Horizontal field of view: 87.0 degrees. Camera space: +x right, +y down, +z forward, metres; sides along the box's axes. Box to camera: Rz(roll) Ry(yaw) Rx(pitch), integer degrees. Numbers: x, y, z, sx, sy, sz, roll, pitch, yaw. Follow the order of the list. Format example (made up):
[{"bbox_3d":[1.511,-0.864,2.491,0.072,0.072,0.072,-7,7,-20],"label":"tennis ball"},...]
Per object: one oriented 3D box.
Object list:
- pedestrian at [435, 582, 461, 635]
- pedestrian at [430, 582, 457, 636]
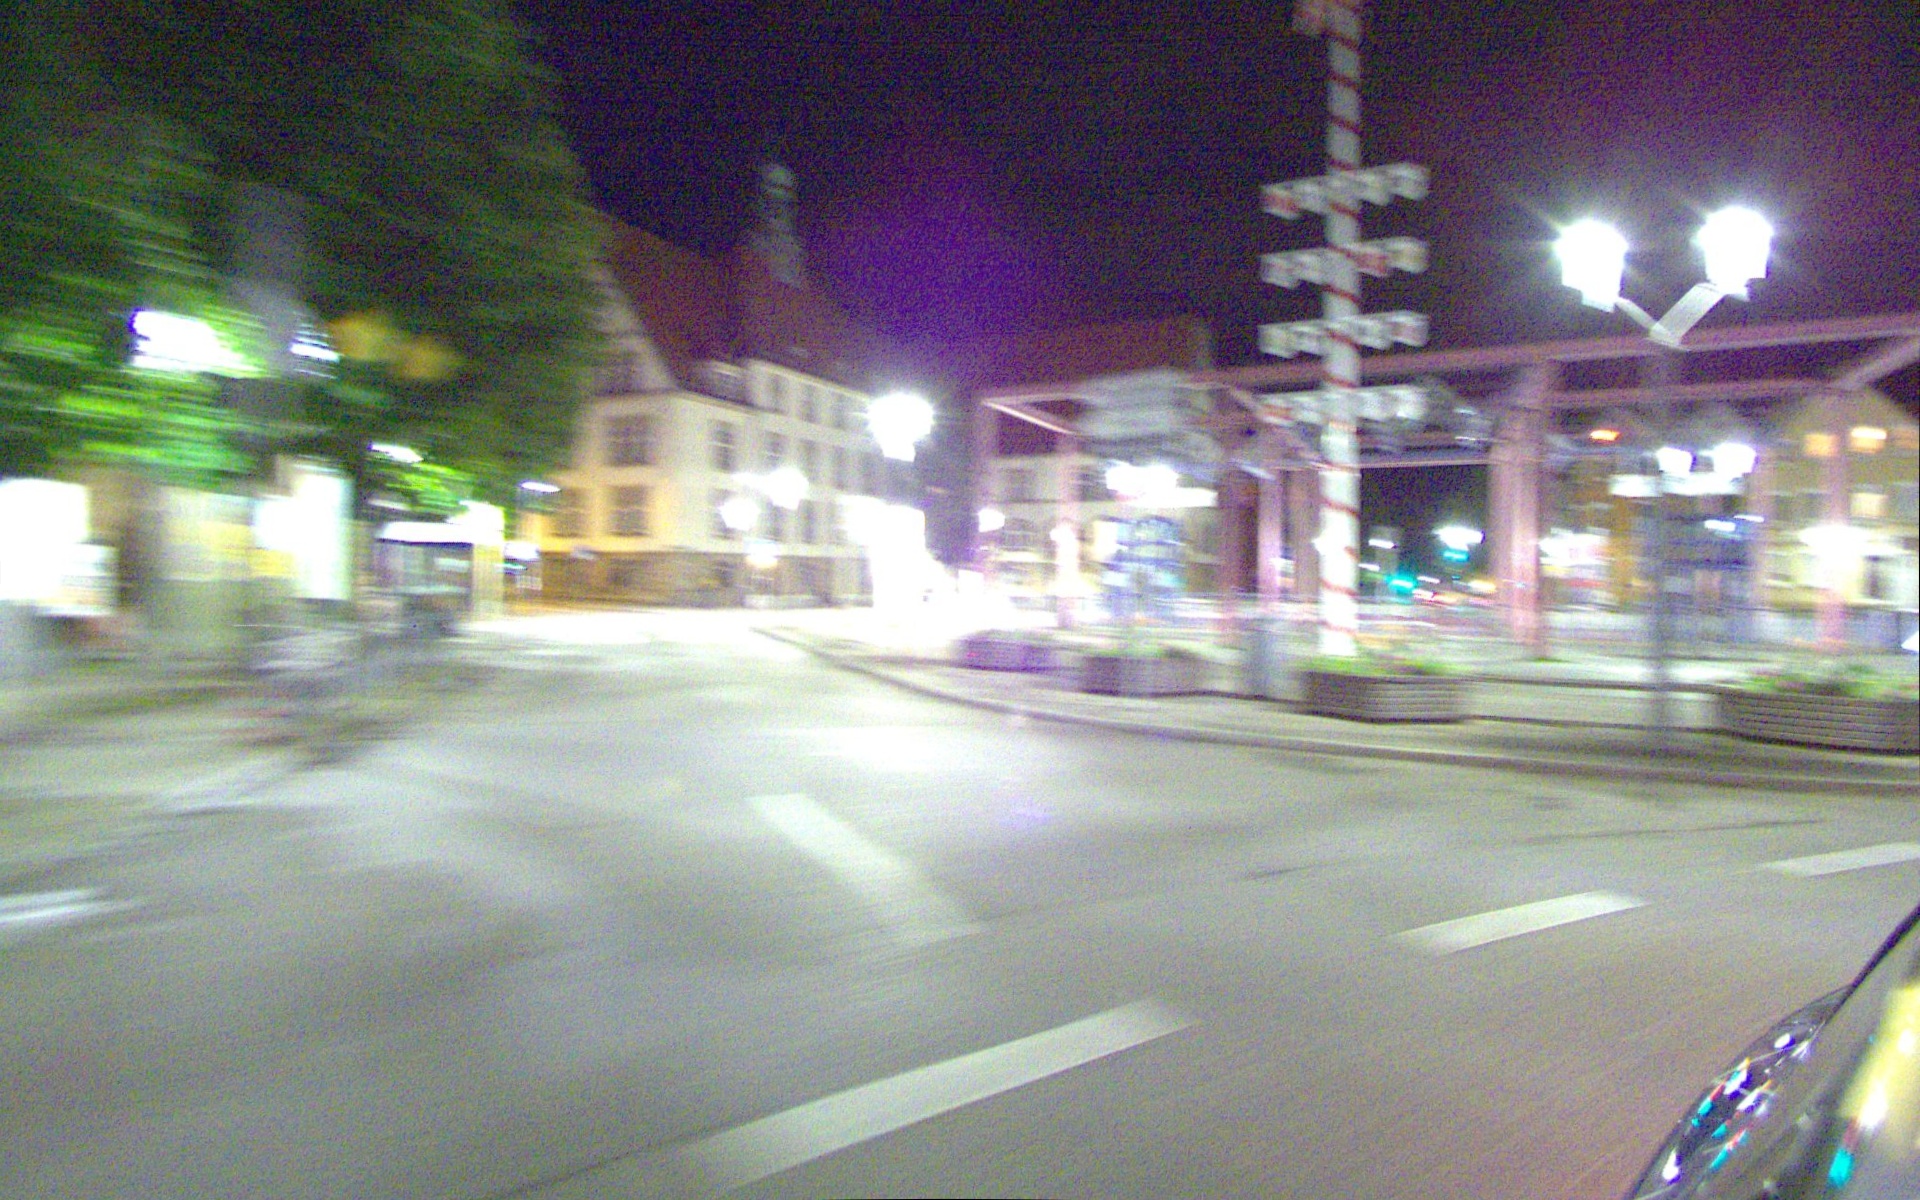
[{"bbox_3d":[-12.823,0.205,25.340,0.504,1.315,0.467,0,1,-16],"label":"pedestrian"},{"bbox_3d":[-12.693,0.214,24.878,0.504,1.315,0.467,0,1,-16],"label":"pedestrian"}]
